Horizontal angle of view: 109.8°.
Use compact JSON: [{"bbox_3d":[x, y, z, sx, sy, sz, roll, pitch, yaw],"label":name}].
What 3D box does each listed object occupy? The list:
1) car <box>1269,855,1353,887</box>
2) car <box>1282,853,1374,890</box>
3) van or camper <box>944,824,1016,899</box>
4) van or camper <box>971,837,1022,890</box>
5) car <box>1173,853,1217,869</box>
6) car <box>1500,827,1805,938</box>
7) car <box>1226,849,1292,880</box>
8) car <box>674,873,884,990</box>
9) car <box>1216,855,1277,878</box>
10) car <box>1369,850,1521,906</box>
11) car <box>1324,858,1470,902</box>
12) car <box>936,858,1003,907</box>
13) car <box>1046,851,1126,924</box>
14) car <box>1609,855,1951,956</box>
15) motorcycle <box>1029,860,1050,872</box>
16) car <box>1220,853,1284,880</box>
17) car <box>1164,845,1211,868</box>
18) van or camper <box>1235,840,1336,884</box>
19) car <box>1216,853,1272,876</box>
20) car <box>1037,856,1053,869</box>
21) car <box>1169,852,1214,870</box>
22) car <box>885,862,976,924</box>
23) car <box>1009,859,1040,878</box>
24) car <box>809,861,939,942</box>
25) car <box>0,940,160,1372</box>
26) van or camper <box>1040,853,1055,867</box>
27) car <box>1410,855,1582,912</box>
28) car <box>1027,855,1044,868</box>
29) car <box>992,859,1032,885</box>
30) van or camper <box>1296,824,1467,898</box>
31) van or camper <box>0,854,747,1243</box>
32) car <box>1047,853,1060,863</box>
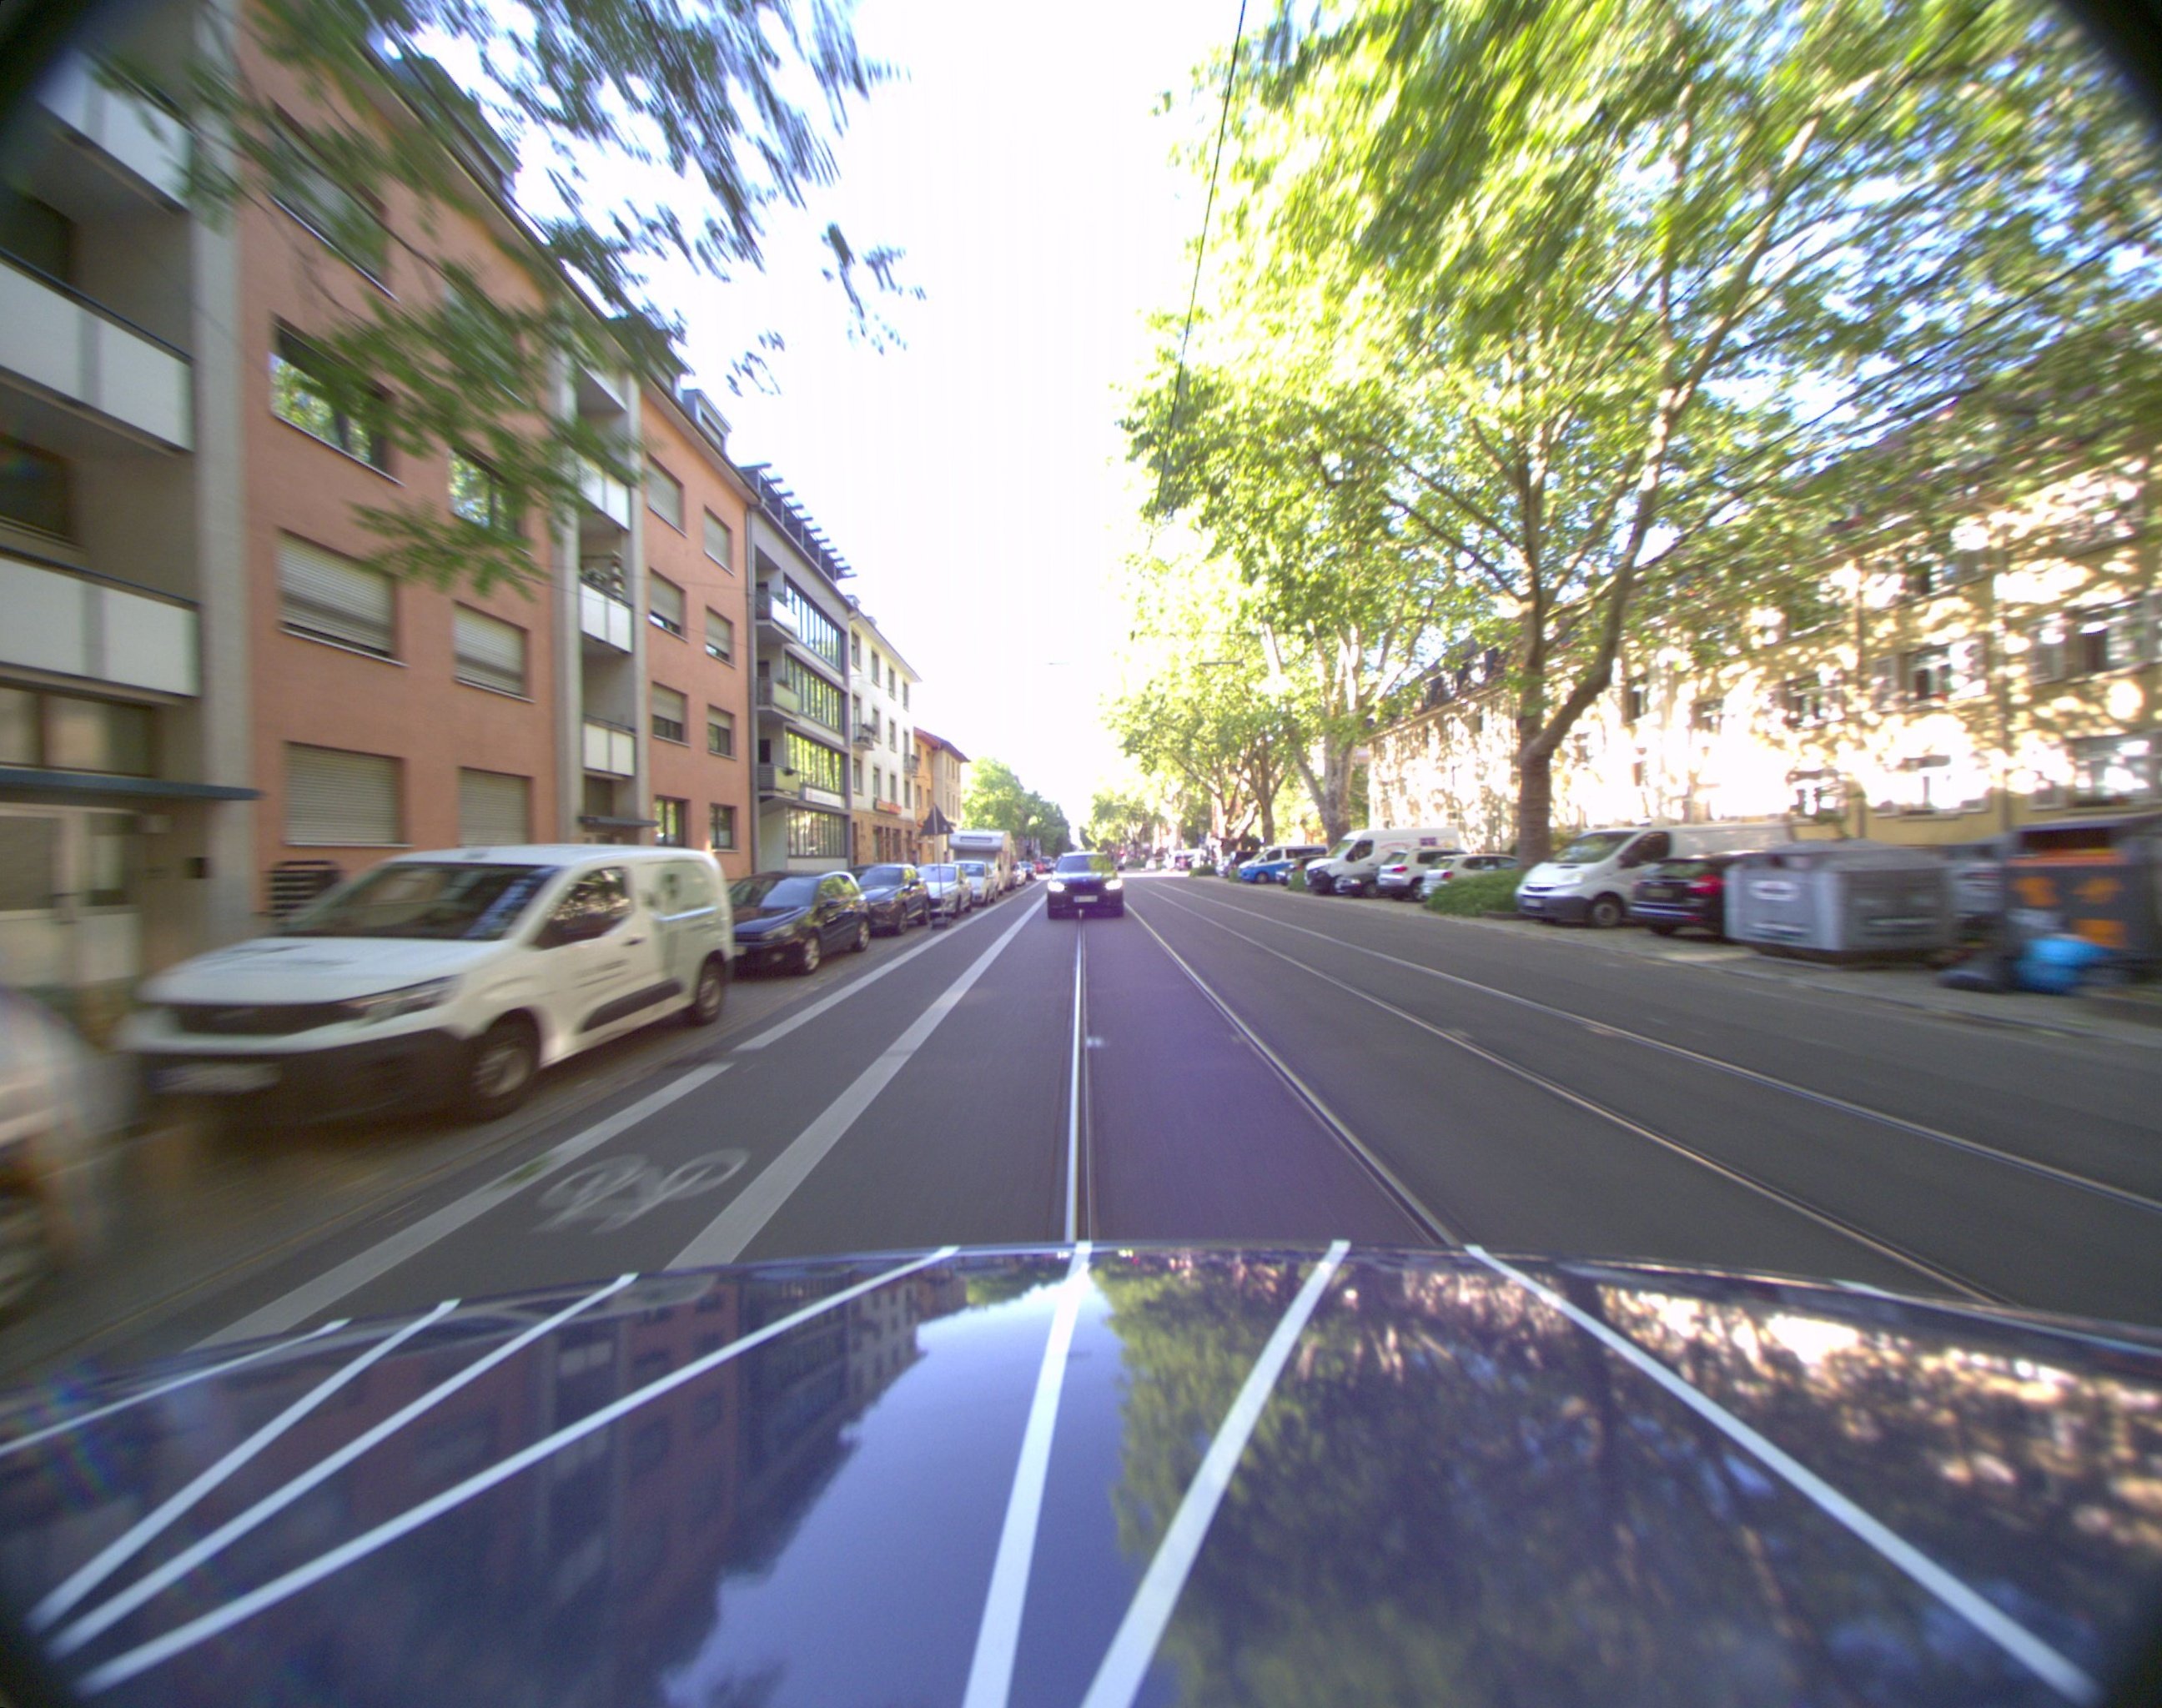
[{"bbox_3d":[11.300,0.811,37.441,3.540,1.451,1.695,-2,0,-6],"label":"car"},{"bbox_3d":[11.327,0.773,34.999,3.691,1.556,1.613,-2,0,2],"label":"car"},{"bbox_3d":[-4.399,0.294,34.098,2.468,3.046,6.267,1,0,-1],"label":"van or camper"},{"bbox_3d":[-4.436,0.466,40.582,2.138,2.647,4.979,1,0,0],"label":"van or camper"},{"bbox_3d":[11.707,0.732,78.463,4.171,1.506,1.925,-2,0,-1],"label":"car"},{"bbox_3d":[11.253,0.521,15.189,4.670,1.934,1.961,-2,0,-3],"label":"car"},{"bbox_3d":[11.115,0.665,47.639,3.691,1.804,1.704,-2,0,0],"label":"car"},{"bbox_3d":[-4.607,1.094,12.314,1.710,1.464,4.168,-1,0,0],"label":"car"},{"bbox_3d":[11.354,0.845,52.134,3.693,1.477,1.701,-2,0,-6],"label":"car"},{"bbox_3d":[11.297,0.730,23.773,3.857,1.653,1.862,-1,0,1],"label":"car"},{"bbox_3d":[10.715,0.854,25.985,4.274,1.390,1.753,-1,0,1],"label":"car"},{"bbox_3d":[-3.981,0.978,27.782,1.797,1.618,4.276,1,0,0],"label":"car"},{"bbox_3d":[0.129,0.822,21.146,1.924,1.741,4.806,-2,0,0],"label":"car"},{"bbox_3d":[11.208,0.783,12.409,3.857,1.489,1.862,-1,0,1],"label":"car"},{"bbox_3d":[-4.410,1.289,80.116,2.071,1.152,0.828,1,1,4],"label":"motorcycle"},{"bbox_3d":[11.210,0.802,49.990,3.693,1.615,1.799,-2,0,-5],"label":"car"},{"bbox_3d":[12.158,0.312,86.985,5.019,2.383,2.028,-2,0,-1],"label":"car"},{"bbox_3d":[11.005,0.433,41.185,4.832,2.177,2.119,-2,0,0],"label":"van or camper"},{"bbox_3d":[11.660,0.765,54.577,3.689,1.545,1.704,-2,0,6],"label":"car"},{"bbox_3d":[-4.417,0.983,92.911,1.694,1.478,4.143,1,0,0],"label":"car"},{"bbox_3d":[11.754,0.729,81.115,4.464,1.755,2.028,-2,0,-1],"label":"car"},{"bbox_3d":[-4.201,1.040,21.850,1.793,1.513,4.321,1,0,-1],"label":"car"},{"bbox_3d":[-4.196,1.065,57.261,1.998,1.372,4.739,1,0,0],"label":"car"},{"bbox_3d":[-4.530,0.968,17.322,1.772,1.563,4.336,1,0,0],"label":"car"},{"bbox_3d":[-4.657,1.094,1.114,1.710,1.464,4.000,-1,0,0],"label":"car"},{"bbox_3d":[-4.687,0.814,107.629,1.882,1.873,4.922,1,0,0],"label":"van or camper"},{"bbox_3d":[11.649,0.805,21.524,3.857,1.489,1.862,-1,0,1],"label":"car"},{"bbox_3d":[-4.951,0.815,83.711,1.607,1.372,3.864,1,0,0],"label":"car"},{"bbox_3d":[-4.241,1.067,47.370,1.998,1.485,4.740,1,0,1],"label":"car"},{"bbox_3d":[11.165,0.264,28.543,5.403,2.501,2.444,-2,0,0],"label":"van or camper"},{"bbox_3d":[-4.594,0.934,6.060,1.759,1.853,4.829,-1,0,-1],"label":"van or camper"},{"bbox_3d":[-4.463,0.651,123.443,1.815,1.701,4.372,1,0,0],"label":"car"}]
